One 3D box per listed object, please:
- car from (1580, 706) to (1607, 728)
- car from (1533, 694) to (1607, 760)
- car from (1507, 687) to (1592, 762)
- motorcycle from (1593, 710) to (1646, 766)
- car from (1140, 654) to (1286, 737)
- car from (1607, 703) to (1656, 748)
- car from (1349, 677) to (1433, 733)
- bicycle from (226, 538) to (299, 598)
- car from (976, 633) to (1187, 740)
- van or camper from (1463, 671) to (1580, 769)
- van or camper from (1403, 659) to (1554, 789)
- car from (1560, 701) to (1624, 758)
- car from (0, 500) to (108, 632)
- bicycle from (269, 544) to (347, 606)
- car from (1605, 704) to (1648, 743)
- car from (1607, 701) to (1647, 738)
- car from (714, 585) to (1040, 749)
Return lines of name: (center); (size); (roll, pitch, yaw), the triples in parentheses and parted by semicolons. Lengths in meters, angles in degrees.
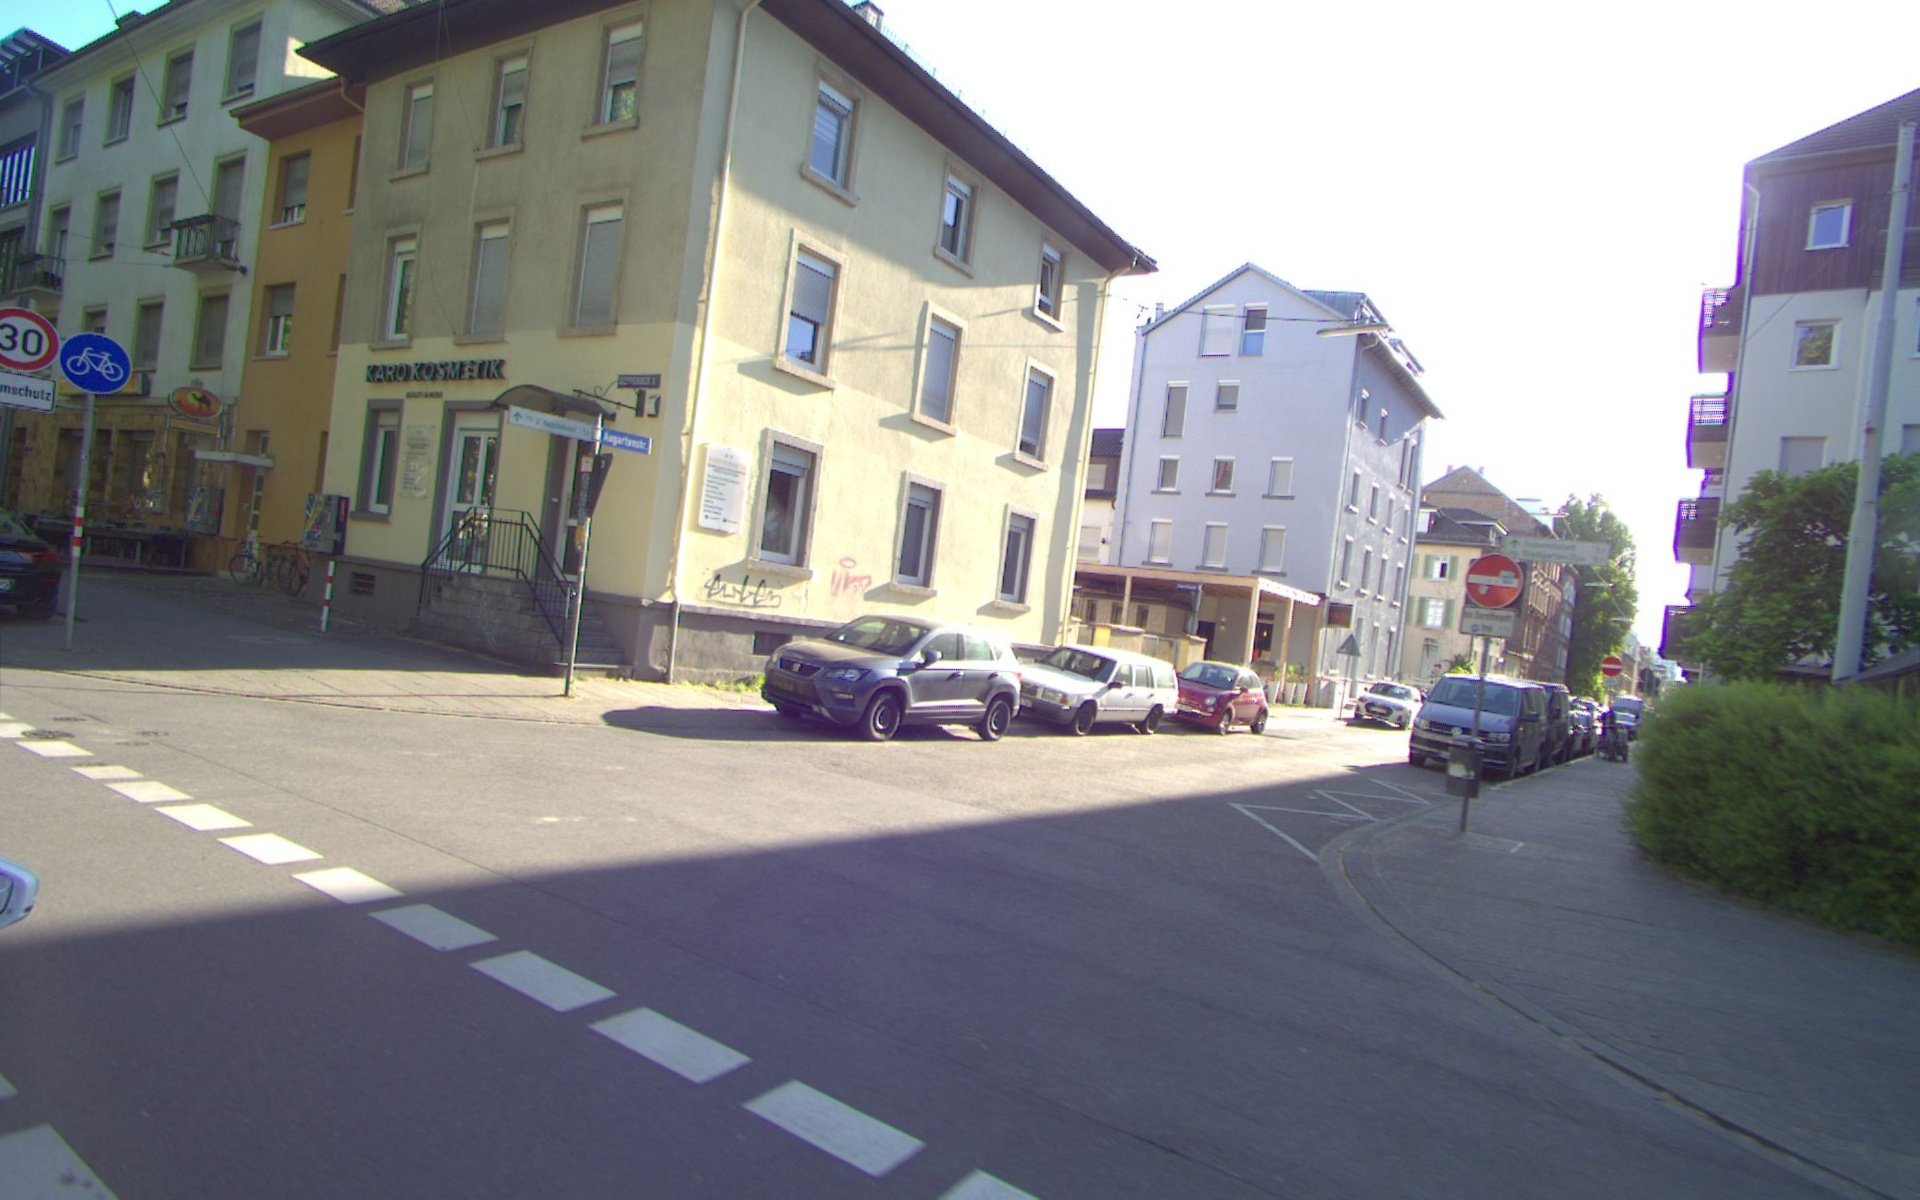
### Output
car: (66.958, 12.365, 106.349); (1.933, 1.950, 4.188); (10, 0, 36)
car: (20.984, 4.332, 34.549); (1.734, 1.879, 3.642); (8, -1, 36)
car: (18.107, 3.804, 30.849); (1.734, 1.879, 3.642); (8, -1, 36)
motorcycle: (19.724, 4.089, 30.026); (1.081, 1.425, 3.135); (7, -2, 36)
car: (5.943, 2.244, 23.312); (1.679, 1.493, 4.188); (10, 0, 36)
car: (33.462, 6.232, 50.091); (1.734, 1.879, 3.642); (8, -1, 36)
car: (15.237, 3.718, 35.446); (1.679, 1.592, 4.188); (10, 0, 36)
bicycle: (-14.178, -0.659, 20.435); (1.827, 1.009, 0.427); (7, -1, 32)
car: (2.447, 1.678, 18.973); (1.679, 1.514, 4.810); (10, 0, 36)
van or camper: (14.391, 3.039, 25.661); (1.900, 2.006, 4.585); (8, -1, 36)
van or camper: (10.693, 2.503, 20.557); (1.900, 2.088, 4.585); (8, -1, 36)
car: (24.980, 5.078, 39.694); (1.734, 1.879, 3.642); (8, -1, 36)
car: (-12.760, -0.598, 12.447); (4.661, 1.398, 1.995); (7, 1, 32)
bicycle: (-12.600, -0.490, 19.424); (1.827, 1.009, 0.427); (7, -1, 32)
car: (37.414, 6.924, 56.435); (1.734, 1.879, 3.642); (8, -1, 36)
car: (40.924, 7.317, 61.656); (1.734, 1.879, 3.642); (8, -1, 36)
car: (-0.943, 0.986, 13.888); (1.873, 1.659, 4.452); (10, 0, 36)
